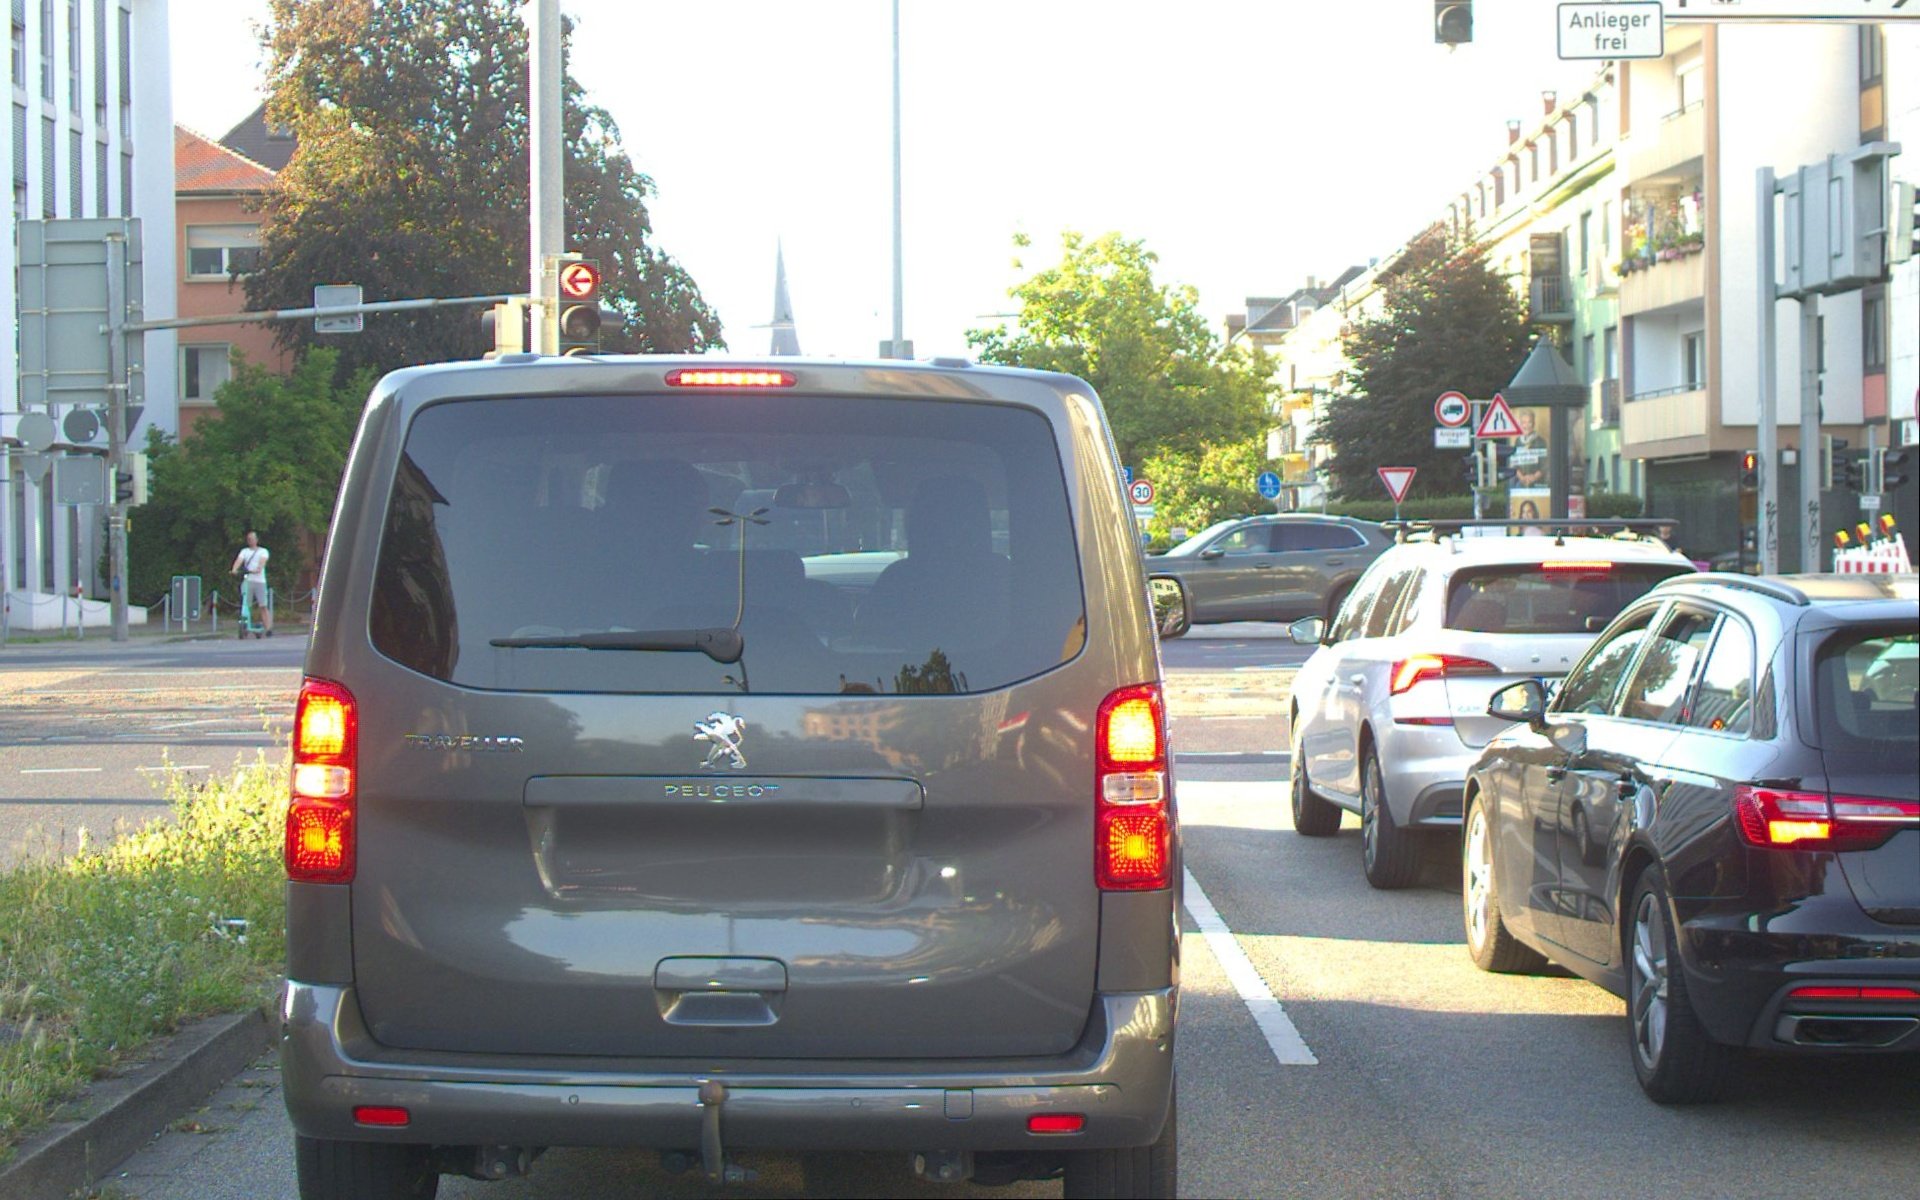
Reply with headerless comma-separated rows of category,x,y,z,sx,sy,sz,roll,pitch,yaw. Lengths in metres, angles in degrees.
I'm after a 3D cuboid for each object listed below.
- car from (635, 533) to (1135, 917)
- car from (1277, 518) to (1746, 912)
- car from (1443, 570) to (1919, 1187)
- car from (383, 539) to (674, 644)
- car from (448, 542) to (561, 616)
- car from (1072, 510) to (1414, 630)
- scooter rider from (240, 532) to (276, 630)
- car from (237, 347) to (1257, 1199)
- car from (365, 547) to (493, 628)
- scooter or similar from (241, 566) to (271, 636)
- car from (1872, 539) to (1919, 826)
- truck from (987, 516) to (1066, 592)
car,-0.321,0.462,15.814,1.993,1.525,4.000,-1,1,-1
car,2.455,0.441,16.101,1.528,1.608,3.745,1,1,-1
car,2.619,0.656,10.300,1.681,1.416,4.214,1,1,-1
car,-6.052,-0.135,48.459,3.986,1.415,1.788,-1,1,-6
car,-9.166,-0.452,69.423,1.856,1.415,4.001,-1,1,-2
car,3.754,-0.412,46.081,4.338,1.544,1.788,-1,1,-4
scooter rider,-12.174,-0.337,59.650,0.481,1.691,0.636,-1,1,-1
car,-0.431,0.420,8.778,1.907,1.857,4.527,1,1,-1
car,-9.766,-0.252,63.487,1.856,1.415,4.001,-1,1,-2
scooter or similar,-12.211,0.016,59.640,0.285,1.184,1.169,-1,1,-1
car,5.592,0.428,16.513,1.504,1.444,3.305,-1,1,-1
truck,1.929,-1.336,98.625,2.128,2.079,4.631,-1,1,3
